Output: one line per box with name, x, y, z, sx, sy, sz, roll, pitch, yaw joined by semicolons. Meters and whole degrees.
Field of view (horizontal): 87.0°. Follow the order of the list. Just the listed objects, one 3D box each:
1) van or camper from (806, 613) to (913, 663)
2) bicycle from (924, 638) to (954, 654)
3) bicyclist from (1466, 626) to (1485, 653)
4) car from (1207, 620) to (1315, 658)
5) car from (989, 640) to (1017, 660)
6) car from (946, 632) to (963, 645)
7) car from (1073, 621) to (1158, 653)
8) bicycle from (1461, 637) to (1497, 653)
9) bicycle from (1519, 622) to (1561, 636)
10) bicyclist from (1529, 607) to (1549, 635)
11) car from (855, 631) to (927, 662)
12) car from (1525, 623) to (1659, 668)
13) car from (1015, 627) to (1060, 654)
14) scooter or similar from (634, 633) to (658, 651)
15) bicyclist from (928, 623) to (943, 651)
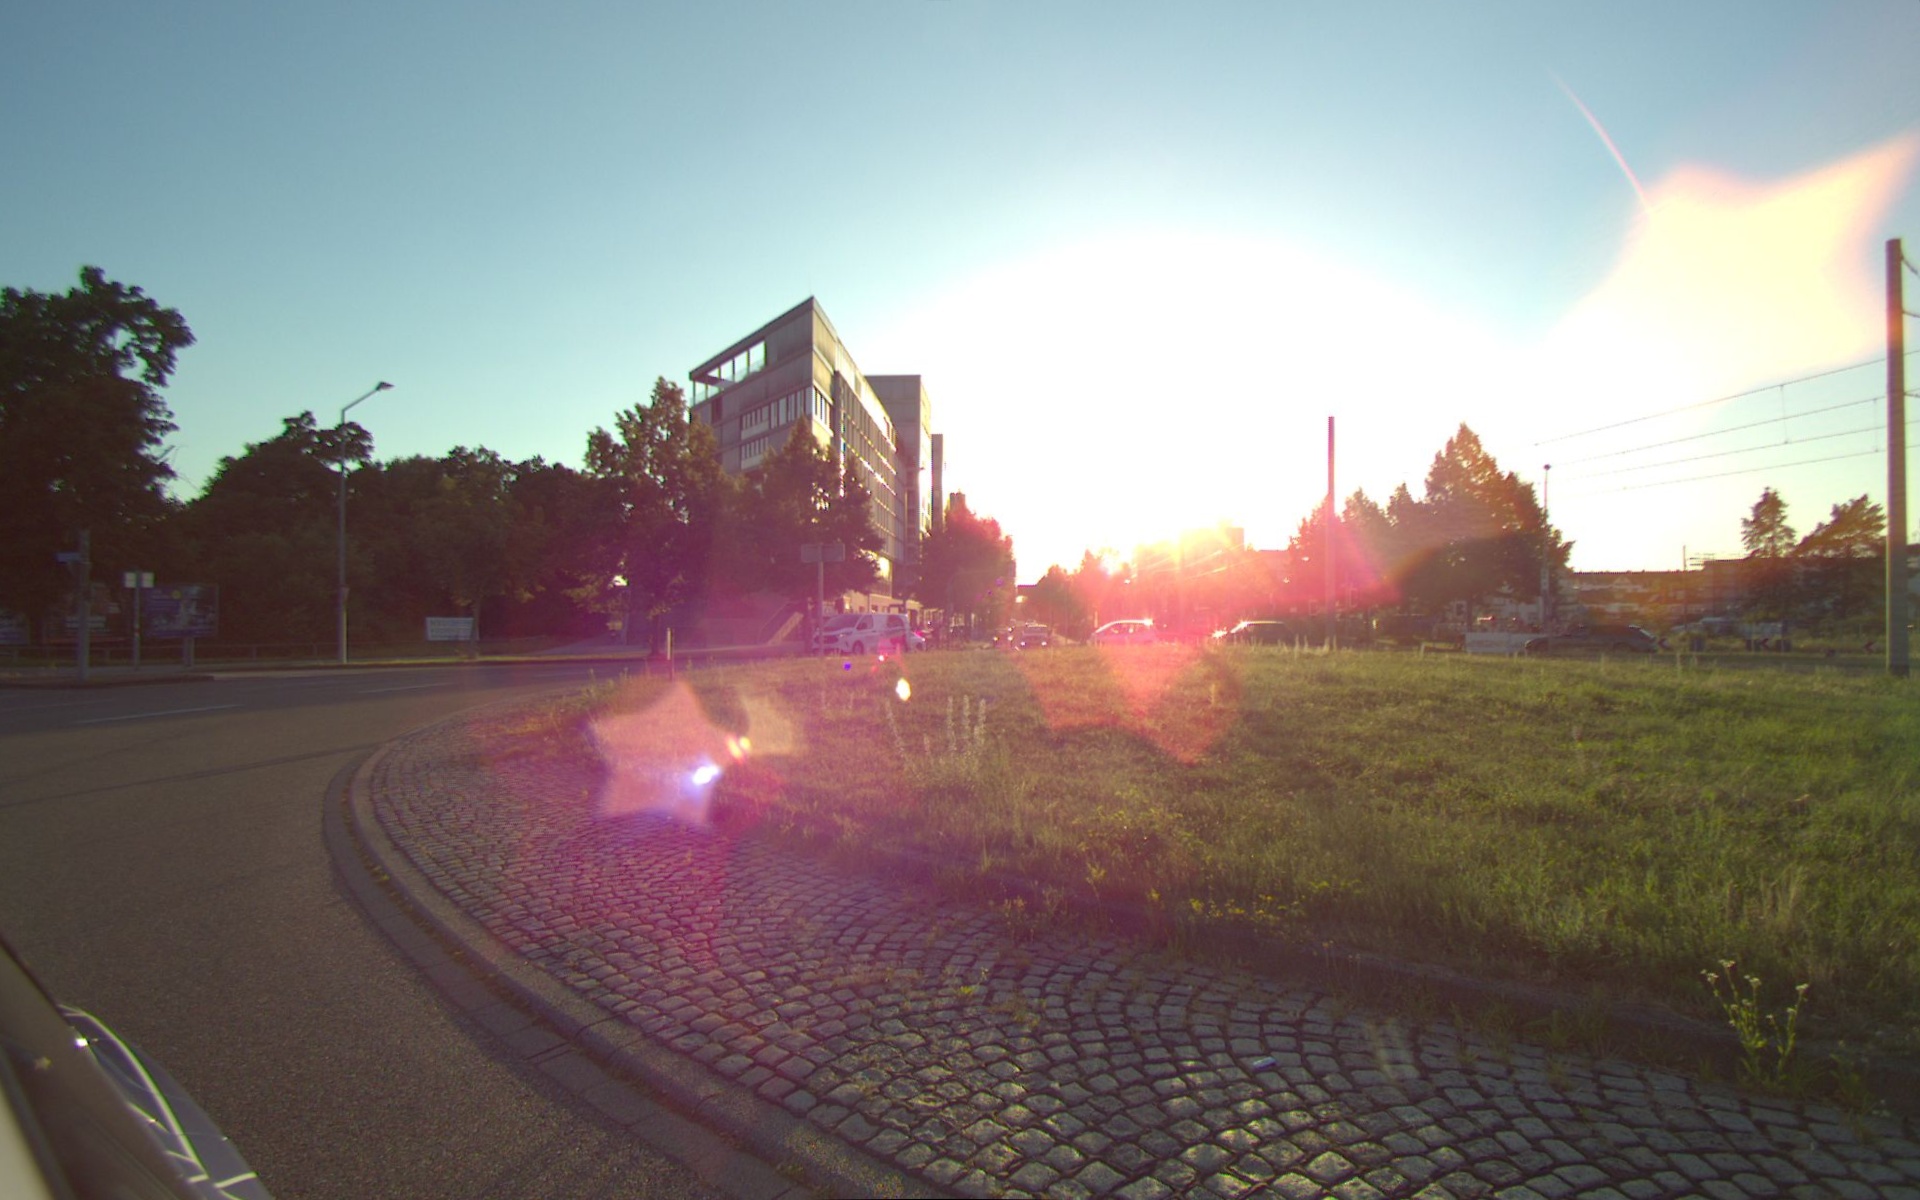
van or camper;-4.145;1.546;42.709;1.990;1.972;5.279;-1;-1;27
bicycle;-1.353;2.933;64.925;1.843;1.030;0.436;-1;-2;11
bicyclist;31.905;2.469;62.640;0.805;1.653;0.813;-1;-2;7
car;14.220;1.854;47.989;4.528;1.761;1.753;0;-2;-4
car;3.448;4.012;81.306;1.726;1.450;3.987;-1;-1;10
car;-0.595;4.353;115.565;1.779;1.475;3.996;0;-2;3
car;7.290;1.730;47.518;3.654;1.476;1.608;0;-2;-4
bicycle;32.111;2.767;62.626;1.821;0.988;0.548;-1;-2;7
bicycle;34.581;1.728;60.339;0.504;0.852;2.140;1;-3;-37
bicyclist;34.503;1.282;60.301;0.684;1.646;0.800;1;-3;-37
car;-3.427;2.320;51.277;1.735;1.441;4.521;-1;-1;25
car;26.423;1.883;42.392;4.591;1.761;1.729;-2;-2;38
car;4.766;2.449;61.839;1.733;1.548;3.973;-1;-1;20
scooter or similar;-21.183;2.842;68.239;1.562;1.229;0.365;-1;-2;14
bicyclist;-1.560;2.366;64.447;0.840;1.769;0.801;-1;-2;10
